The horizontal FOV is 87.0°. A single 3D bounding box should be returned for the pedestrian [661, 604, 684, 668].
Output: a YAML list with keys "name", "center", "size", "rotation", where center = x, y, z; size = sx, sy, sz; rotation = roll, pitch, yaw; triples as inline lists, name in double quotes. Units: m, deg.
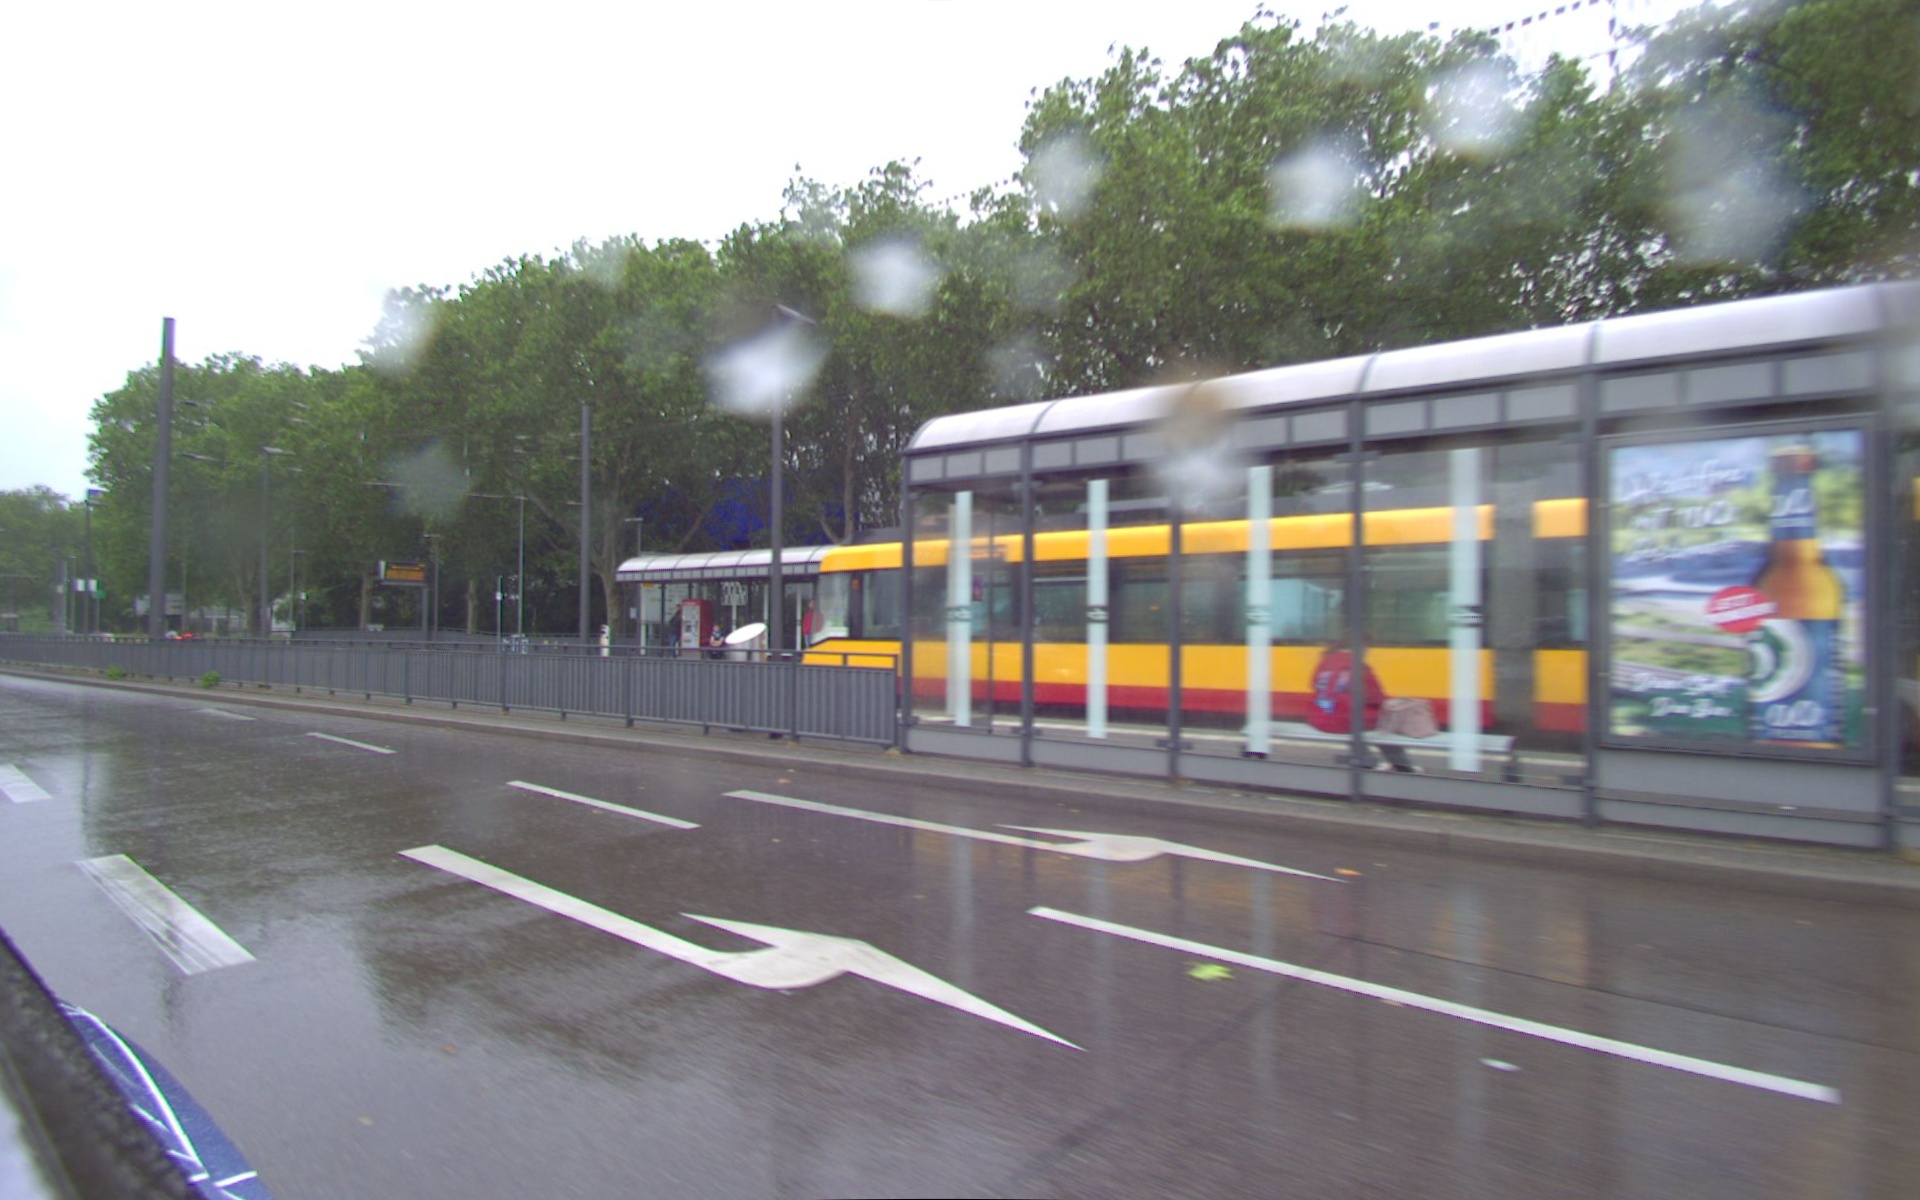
- name: "pedestrian"
  center: [-8.695, 1.077, 30.634]
  size: [0.460, 1.897, 0.476]
  rotation: [0, 0, 29]

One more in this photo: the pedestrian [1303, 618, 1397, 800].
- name: "pedestrian"
  center: [2.809, 0.756, 7.296]
  size: [0.452, 1.245, 0.467]
  rotation: [0, 0, -38]

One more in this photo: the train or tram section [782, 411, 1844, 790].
- name: "train or tram section"
  center: [3.832, 0.053, 16.436]
  size: [15.546, 3.827, 3.707]
  rotation: [-1, 0, 37]

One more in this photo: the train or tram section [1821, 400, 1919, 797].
- name: "train or tram section"
  center: [15.352, -0.076, 7.620]
  size: [13.233, 3.868, 3.707]
  rotation: [-1, 0, 37]

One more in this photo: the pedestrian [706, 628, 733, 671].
- name: "pedestrian"
  center: [-6.953, 1.414, 29.246]
  size: [0.578, 1.209, 0.515]
  rotation: [0, 0, 29]

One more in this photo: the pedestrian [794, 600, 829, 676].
- name: "pedestrian"
  center: [-3.866, 0.978, 26.337]
  size: [0.669, 1.926, 0.615]
  rotation: [0, 0, 29]
